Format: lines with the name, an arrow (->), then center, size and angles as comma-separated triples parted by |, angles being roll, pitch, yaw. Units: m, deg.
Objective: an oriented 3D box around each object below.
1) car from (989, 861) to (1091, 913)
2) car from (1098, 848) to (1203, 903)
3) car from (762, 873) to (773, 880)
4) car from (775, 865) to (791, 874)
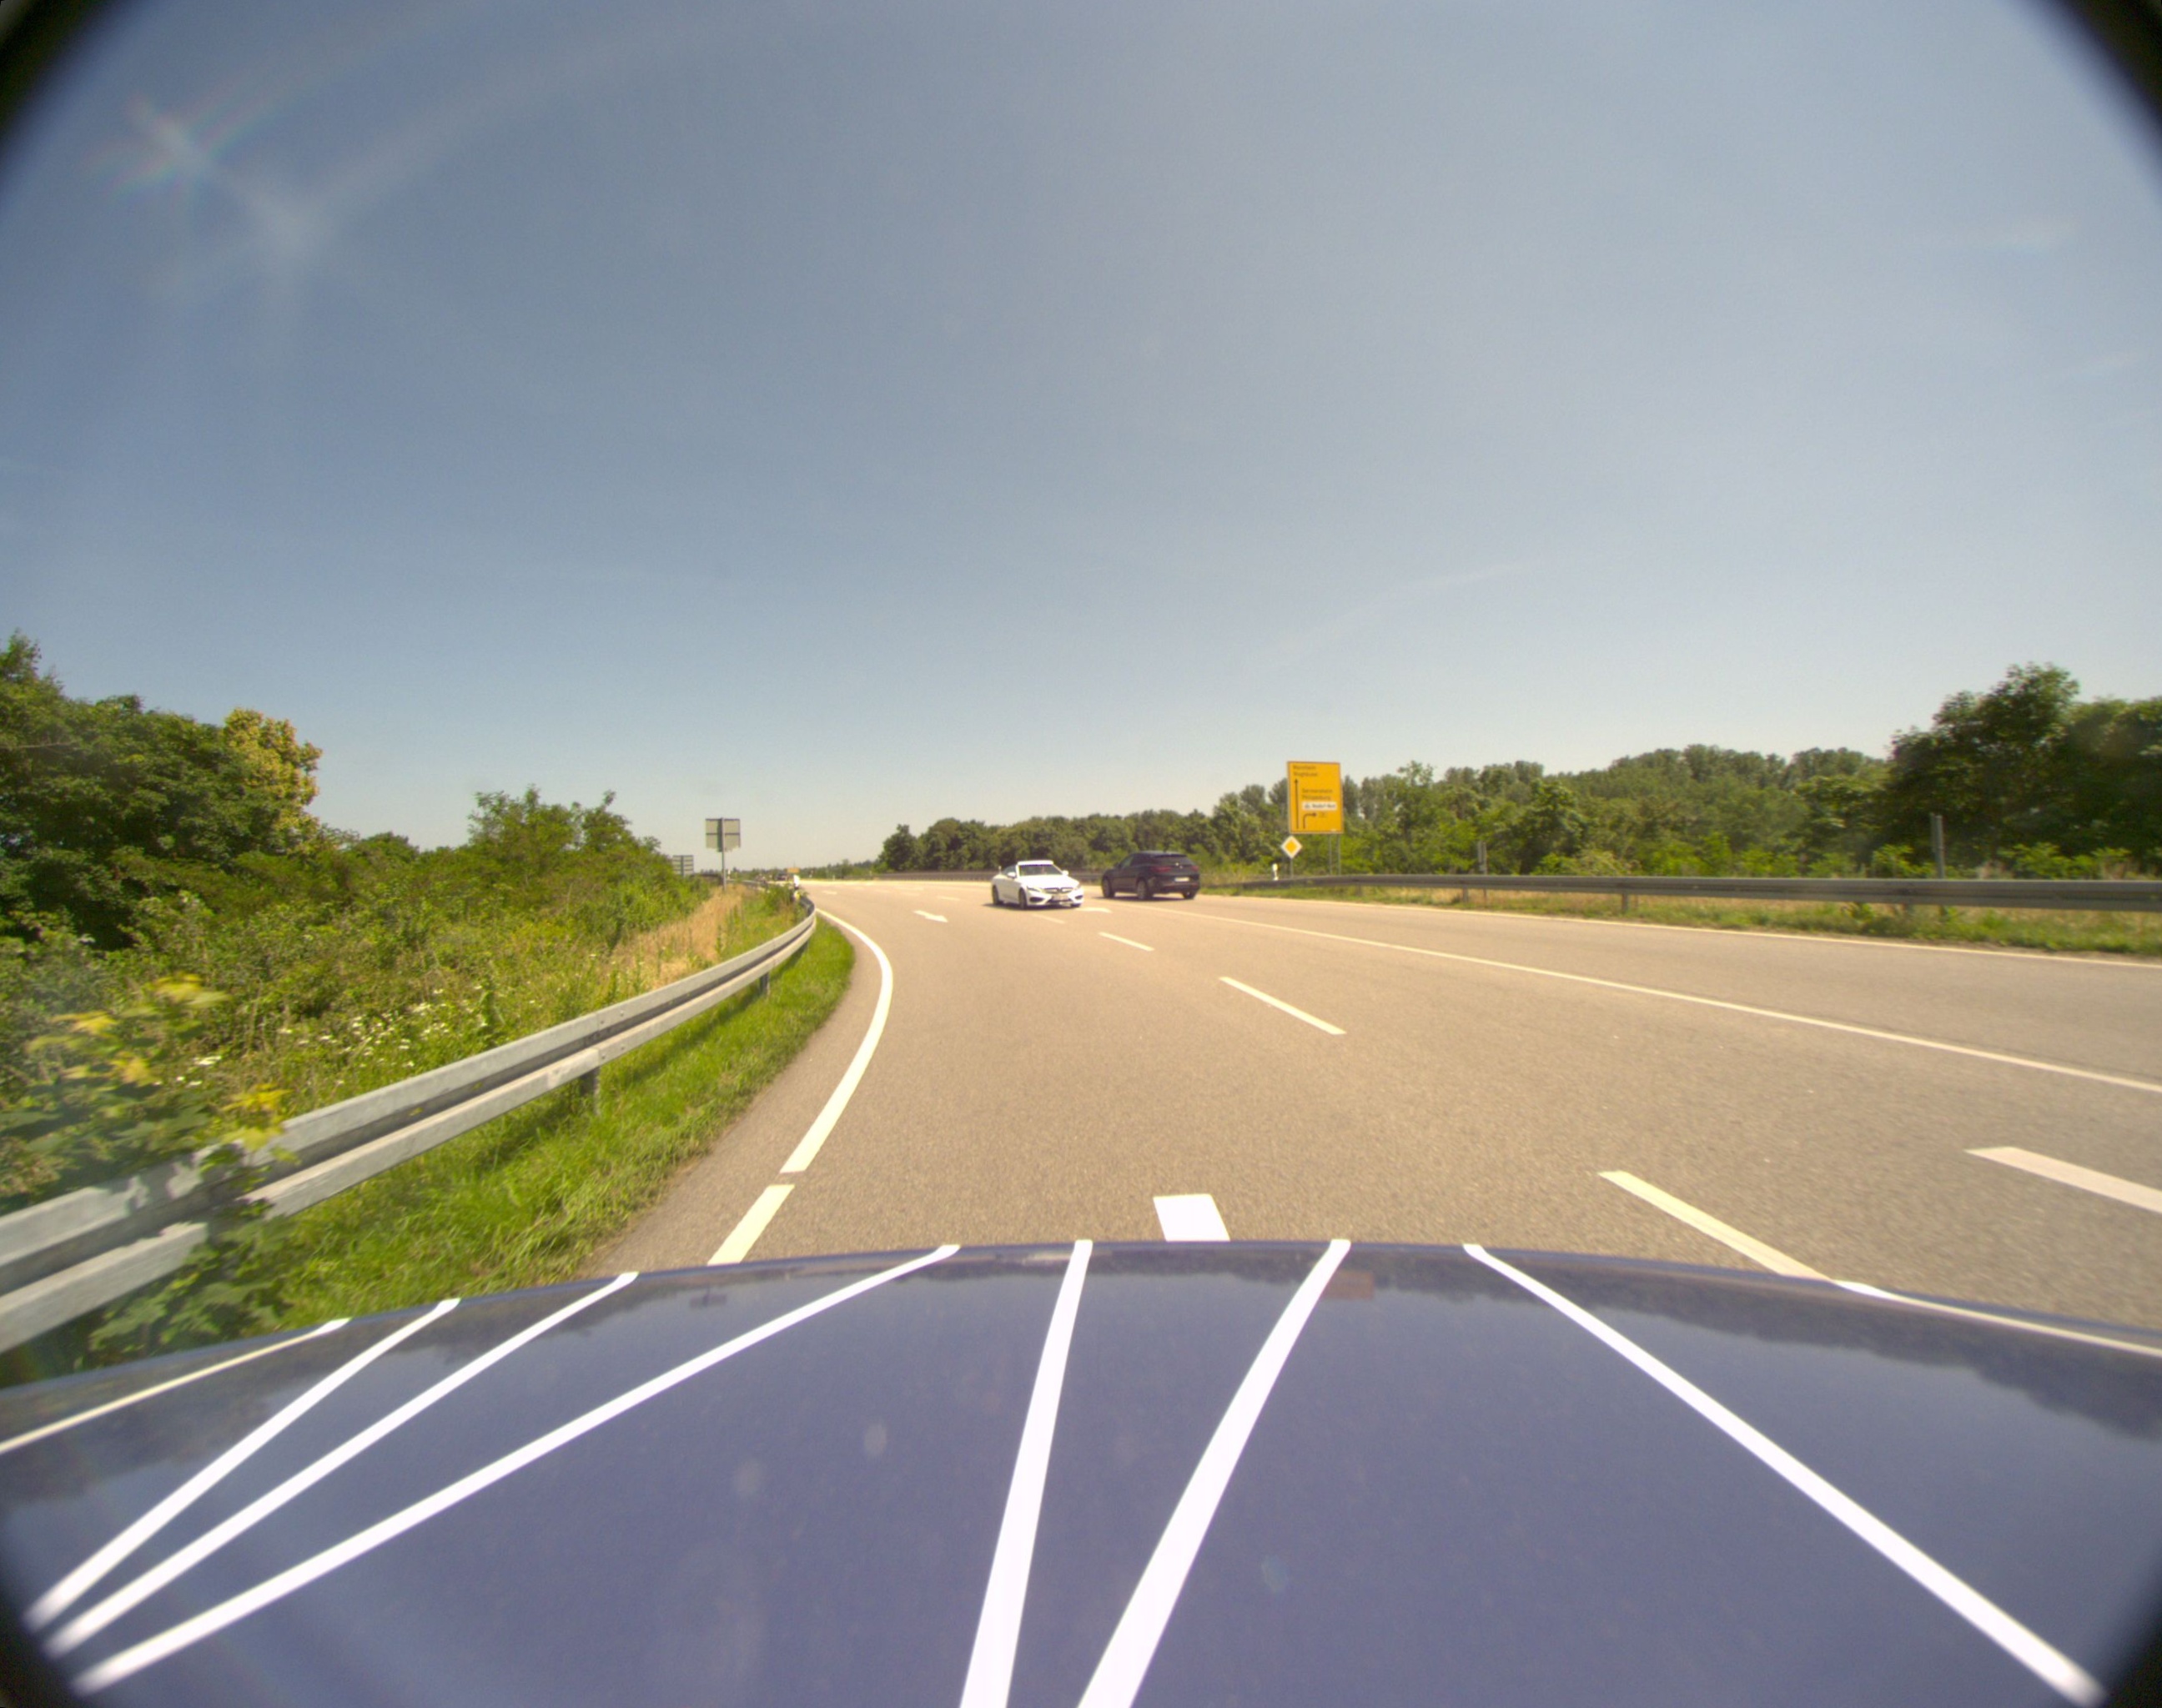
car -> -1.398, 0.963, 23.907 | 1.816, 1.407, 4.102 | -2, 1, -24
car -> 2.268, 0.728, 26.141 | 1.718, 1.648, 4.561 | -2, -1, -20
car -> -63.388, 4.567, 153.512 | 1.732, 1.444, 4.784 | 0, -1, -27
car -> -47.161, 2.479, 120.378 | 1.743, 1.392, 4.371 | 0, -2, -30
